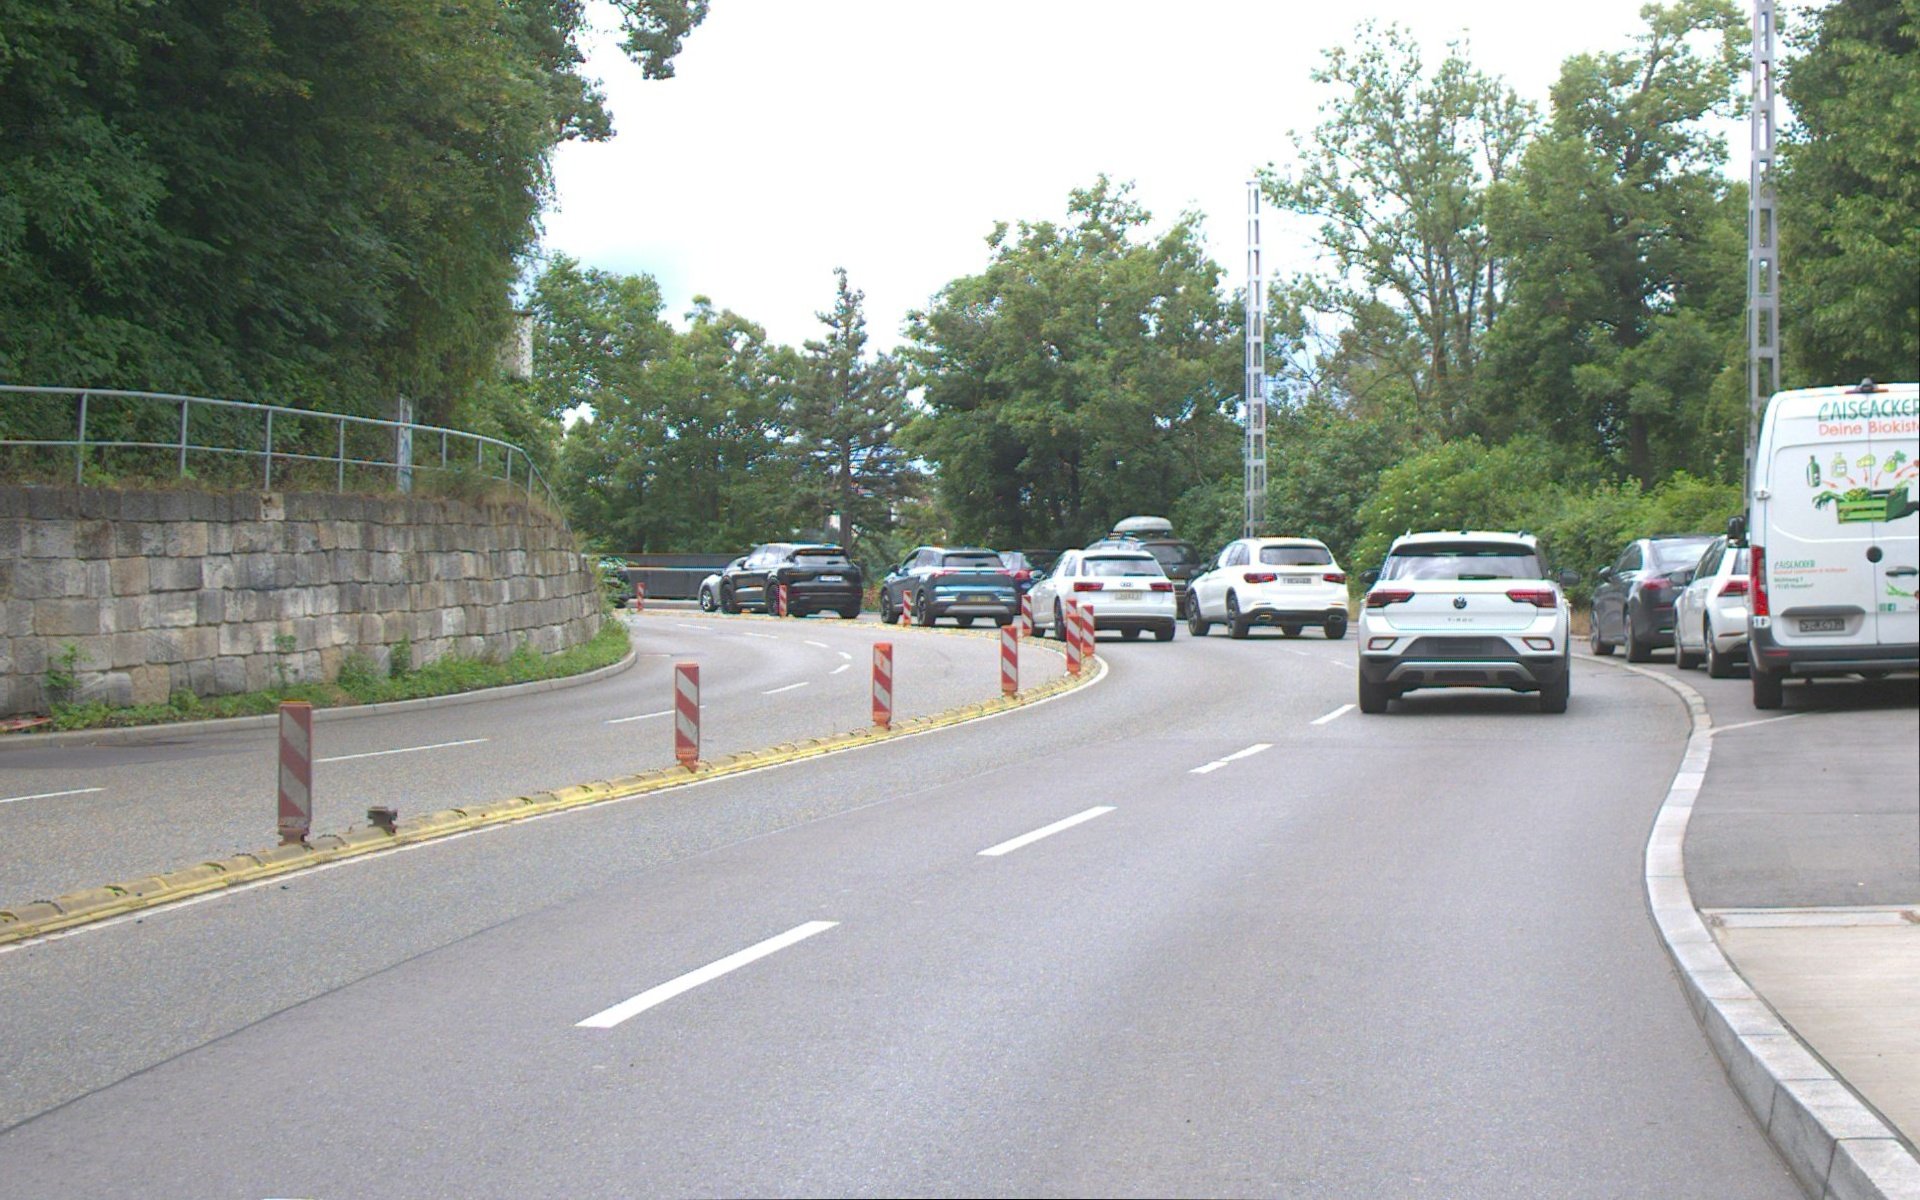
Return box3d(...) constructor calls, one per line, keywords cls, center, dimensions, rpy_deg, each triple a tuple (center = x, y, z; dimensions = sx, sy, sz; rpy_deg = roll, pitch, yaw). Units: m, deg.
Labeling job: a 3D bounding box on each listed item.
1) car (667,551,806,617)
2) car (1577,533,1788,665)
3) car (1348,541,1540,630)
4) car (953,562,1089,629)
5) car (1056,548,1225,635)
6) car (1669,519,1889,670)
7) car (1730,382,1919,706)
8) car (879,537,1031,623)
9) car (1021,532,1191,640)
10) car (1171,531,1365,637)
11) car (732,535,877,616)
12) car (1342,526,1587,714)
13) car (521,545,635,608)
box3d(cls="car", center=(-5.570, -0.413, 85.300), dimensions=(1.825, 1.518, 4.000), rpy_deg=(3, 0, -29))
box3d(cls="car", center=(8.466, -0.039, 40.628), dimensions=(1.701, 1.459, 4.663), rpy_deg=(0, 1, 2))
box3d(cls="car", center=(8.069, -0.243, 57.663), dimensions=(1.776, 1.413, 4.001), rpy_deg=(-1, 1, -14))
box3d(cls="car", center=(1.374, -0.121, 79.414), dimensions=(1.659, 1.482, 4.036), rpy_deg=(1, 0, -22))
box3d(cls="car", center=(3.832, -0.197, 73.898), dimensions=(1.798, 1.766, 4.608), rpy_deg=(1, 0, -22))
box3d(cls="car", center=(8.416, -0.068, 35.592), dimensions=(1.701, 1.459, 3.834), rpy_deg=(-1, 0, 6))
box3d(cls="car", center=(7.841, -0.476, 29.937), dimensions=(2.085, 2.515, 5.841), rpy_deg=(-2, 0, 13))
box3d(cls="car", center=(-0.137, -0.377, 66.884), dimensions=(1.993, 1.535, 4.011), rpy_deg=(3, 0, -14))
box3d(cls="car", center=(2.292, -0.216, 55.077), dimensions=(1.906, 1.568, 4.001), rpy_deg=(3, 0, -9))
box3d(cls="car", center=(4.999, -0.261, 56.375), dimensions=(1.993, 1.581, 4.001), rpy_deg=(3, 0, -12))
box3d(cls="car", center=(-3.492, -0.551, 76.736), dimensions=(1.815, 1.684, 4.001), rpy_deg=(3, 0, -24))
box3d(cls="car", center=(4.524, 0.147, 30.422), dimensions=(1.868, 1.531, 3.801), rpy_deg=(1, 1, 12))
box3d(cls="car", center=(-10.406, -0.651, 93.497), dimensions=(1.888, 1.606, 4.001), rpy_deg=(3, 0, -24))
